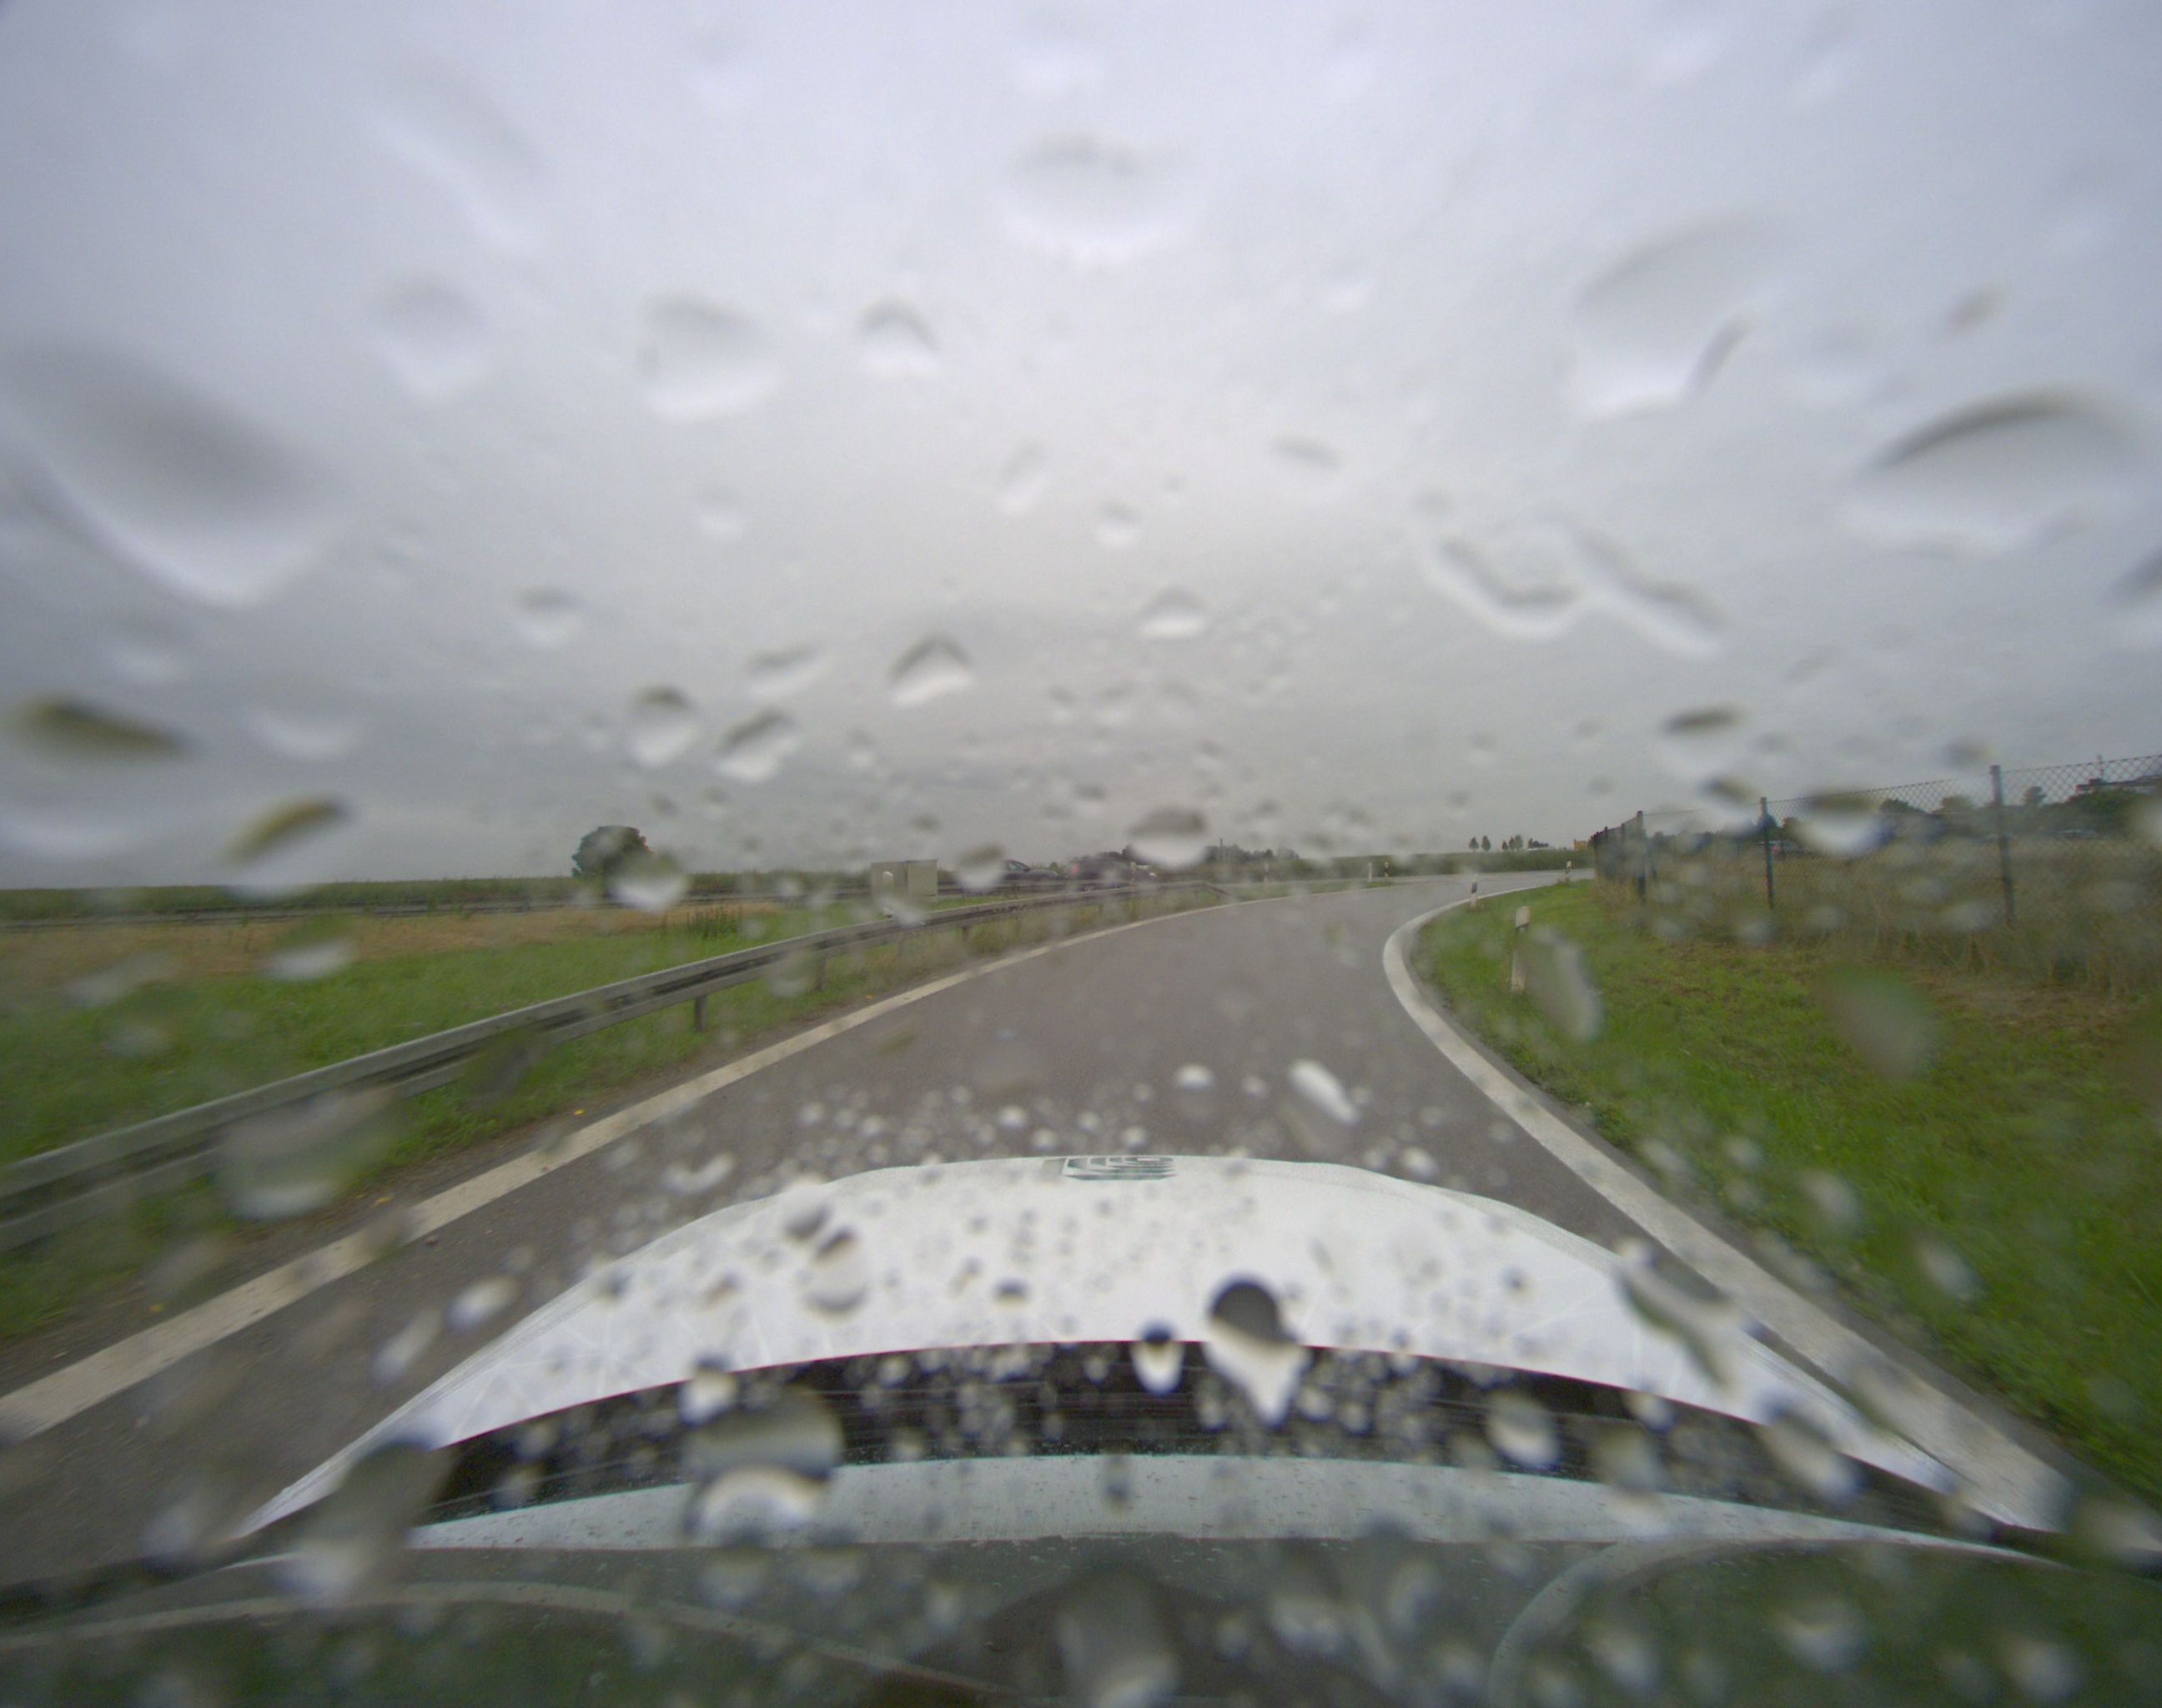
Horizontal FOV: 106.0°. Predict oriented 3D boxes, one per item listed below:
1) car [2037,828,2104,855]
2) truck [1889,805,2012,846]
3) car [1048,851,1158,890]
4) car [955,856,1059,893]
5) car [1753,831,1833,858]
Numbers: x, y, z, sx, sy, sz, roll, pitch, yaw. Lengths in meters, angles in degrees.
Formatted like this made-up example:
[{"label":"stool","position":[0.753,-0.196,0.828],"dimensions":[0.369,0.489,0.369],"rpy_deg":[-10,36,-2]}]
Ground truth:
[{"label":"car","position":[78.918,-0.995,64.974],"dimensions":[3.998,1.698,1.987],"rpy_deg":[-4,-3,-18]},{"label":"truck","position":[89.943,-2.916,84.196],"dimensions":[13.804,3.966,3.186],"rpy_deg":[-1,1,-18]},{"label":"car","position":[0.987,0.740,37.511],"dimensions":[4.592,1.636,2.139],"rpy_deg":[-1,-1,-18]},{"label":"car","position":[-3.661,1.010,40.357],"dimensions":[4.795,1.636,2.047],"rpy_deg":[-1,-1,-18]},{"label":"car","position":[47.084,-0.625,53.857],"dimensions":[4.347,1.636,2.047],"rpy_deg":[-1,-1,-18]}]
